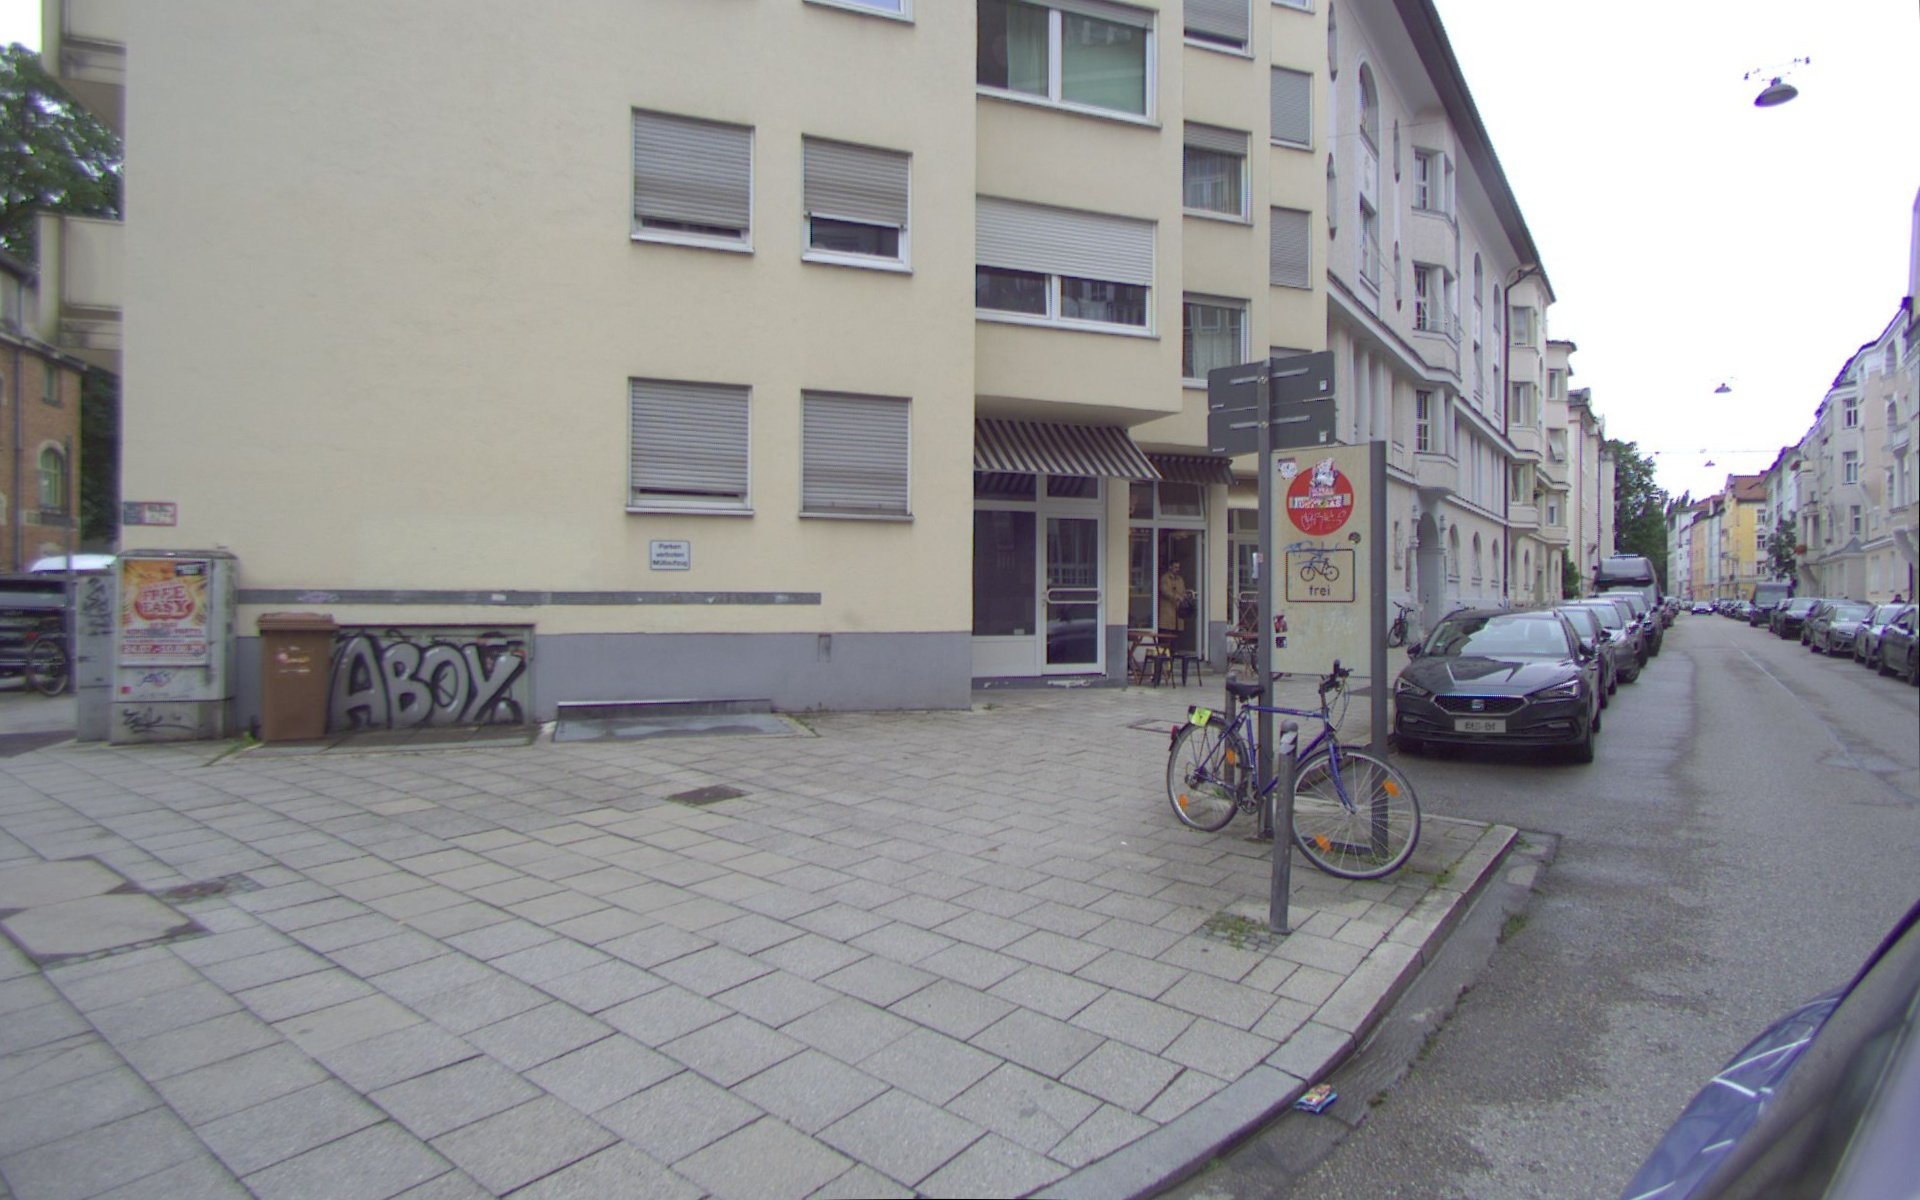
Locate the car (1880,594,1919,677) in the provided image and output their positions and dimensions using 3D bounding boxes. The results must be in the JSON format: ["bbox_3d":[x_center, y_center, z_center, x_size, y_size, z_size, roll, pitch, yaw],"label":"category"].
[{"bbox_3d":[18.726,0.639,18.635,1.987,1.466,4.719,1,1,35],"label":"car"}]

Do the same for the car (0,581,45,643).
[{"bbox_3d":[-23.352,0.299,23.520,1.668,1.449,3.838,-1,0,-18],"label":"car"}]

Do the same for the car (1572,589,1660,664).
[{"bbox_3d":[15.569,0.565,24.024,1.628,1.612,3.920,0,0,34],"label":"car"}]

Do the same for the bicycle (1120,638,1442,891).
[{"bbox_3d":[1.720,0.818,5.754,0.652,1.099,1.800,2,0,-26],"label":"bicycle"}]

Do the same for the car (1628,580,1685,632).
[{"bbox_3d":[28.960,0.226,42.035,1.790,2.065,4.018,0,0,36],"label":"car"}]

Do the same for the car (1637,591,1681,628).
[{"bbox_3d":[38.305,0.504,55.515,1.869,1.961,4.605,-1,-1,35],"label":"car"}]

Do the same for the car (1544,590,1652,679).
[{"bbox_3d":[12.477,0.595,19.857,1.627,1.556,3.811,0,0,32],"label":"car"}]

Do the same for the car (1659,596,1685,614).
[{"bbox_3d":[58.356,0.380,82.884,1.674,1.400,3.597,0,0,36],"label":"car"}]

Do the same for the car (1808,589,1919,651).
[{"bbox_3d":[24.833,0.490,27.738,1.829,1.532,4.555,1,0,32],"label":"car"}]

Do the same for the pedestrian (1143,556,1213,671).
[{"bbox_3d":[3.732,0.213,17.360,0.726,1.871,1.018,4,0,-10],"label":"pedestrian"}]

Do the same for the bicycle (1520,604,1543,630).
[{"bbox_3d":[25.739,0.747,45.573,0.639,1.131,1.942,-1,0,36],"label":"bicycle"}]

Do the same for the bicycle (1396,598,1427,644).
[{"bbox_3d":[12.074,0.545,27.051,0.479,1.165,1.766,-1,0,34],"label":"bicycle"}]

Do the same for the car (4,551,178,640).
[{"bbox_3d":[-25.601,-0.133,30.103,2.099,2.379,5.381,0,0,-19],"label":"car"}]

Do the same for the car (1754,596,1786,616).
[{"bbox_3d":[59.509,0.425,74.404,1.674,1.416,3.657,0,0,36],"label":"car"}]

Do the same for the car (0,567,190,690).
[{"bbox_3d":[-13.833,0.379,15.627,1.817,1.659,4.559,0,0,-20],"label":"car"}]

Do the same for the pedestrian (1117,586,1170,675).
[{"bbox_3d":[2.979,0.477,16.436,0.659,1.416,0.534,0,0,-21],"label":"pedestrian"}]

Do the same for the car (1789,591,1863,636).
[{"bbox_3d":[34.250,0.493,40.120,1.946,1.680,4.555,0,0,37],"label":"car"}]

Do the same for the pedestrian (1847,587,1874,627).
[{"bbox_3d":[41.245,0.295,46.344,0.833,1.812,0.731,-1,0,36],"label":"pedestrian"}]

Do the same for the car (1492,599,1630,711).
[{"bbox_3d":[9.404,0.740,15.702,1.628,1.490,3.808,0,0,34],"label":"car"}]

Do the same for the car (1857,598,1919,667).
[{"bbox_3d":[22.062,0.705,23.261,1.802,1.449,4.379,2,1,37],"label":"car"}]

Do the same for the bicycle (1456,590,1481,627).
[{"bbox_3d":[16.798,0.260,33.435,0.480,1.165,1.766,3,2,34],"label":"bicycle"}]

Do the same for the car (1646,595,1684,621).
[{"bbox_3d":[41.257,0.445,59.188,1.722,1.485,3.689,0,0,36],"label":"car"}]

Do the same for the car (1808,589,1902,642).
[{"bbox_3d":[28.631,0.469,32.484,1.797,1.592,3.766,0,0,35],"label":"car"}]

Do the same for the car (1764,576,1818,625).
[{"bbox_3d":[48.006,-0.003,58.570,2.094,2.653,5.602,2,1,37],"label":"car"}]

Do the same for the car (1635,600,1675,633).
[{"bbox_3d":[32.549,0.767,47.417,1.487,1.490,3.460,-1,-1,35],"label":"car"}]

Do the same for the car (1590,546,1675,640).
[{"bbox_3d":[23.678,-0.274,35.519,2.247,2.997,6.054,-1,0,36],"label":"car"}]

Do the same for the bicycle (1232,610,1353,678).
[{"bbox_3d":[5.466,0.710,16.665,1.761,1.045,0.755,1,1,-18],"label":"bicycle"}]

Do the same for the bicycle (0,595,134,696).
[{"bbox_3d":[-11.263,0.526,12.759,0.569,1.169,1.967,0,0,-15],"label":"bicycle"}]

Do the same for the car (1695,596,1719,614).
[{"bbox_3d":[79.869,0.535,108.215,1.988,1.821,3.947,0,0,37],"label":"car"}]

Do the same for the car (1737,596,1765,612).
[{"bbox_3d":[68.276,0.335,87.429,1.673,1.416,3.659,0,0,35],"label":"car"}]

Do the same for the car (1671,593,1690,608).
[{"bbox_3d":[79.516,0.044,111.666,1.674,1.702,3.597,0,0,36],"label":"car"}]

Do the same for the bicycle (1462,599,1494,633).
[{"bbox_3d":[18.136,0.537,35.397,0.481,1.165,1.759,-1,0,45],"label":"bicycle"}]

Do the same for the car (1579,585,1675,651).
[{"bbox_3d":[18.994,0.478,28.730,1.988,1.710,4.612,-1,-1,37],"label":"car"}]

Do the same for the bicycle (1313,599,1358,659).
[{"bbox_3d":[8.039,0.596,21.617,0.560,1.207,1.659,3,2,31],"label":"bicycle"}]

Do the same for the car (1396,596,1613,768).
[{"bbox_3d":[6.196,0.714,11.235,1.686,1.490,4.554,0,0,34],"label":"car"}]

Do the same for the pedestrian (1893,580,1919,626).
[{"bbox_3d":[36.705,0.105,38.995,0.990,1.750,0.927,-1,0,36],"label":"pedestrian"}]
